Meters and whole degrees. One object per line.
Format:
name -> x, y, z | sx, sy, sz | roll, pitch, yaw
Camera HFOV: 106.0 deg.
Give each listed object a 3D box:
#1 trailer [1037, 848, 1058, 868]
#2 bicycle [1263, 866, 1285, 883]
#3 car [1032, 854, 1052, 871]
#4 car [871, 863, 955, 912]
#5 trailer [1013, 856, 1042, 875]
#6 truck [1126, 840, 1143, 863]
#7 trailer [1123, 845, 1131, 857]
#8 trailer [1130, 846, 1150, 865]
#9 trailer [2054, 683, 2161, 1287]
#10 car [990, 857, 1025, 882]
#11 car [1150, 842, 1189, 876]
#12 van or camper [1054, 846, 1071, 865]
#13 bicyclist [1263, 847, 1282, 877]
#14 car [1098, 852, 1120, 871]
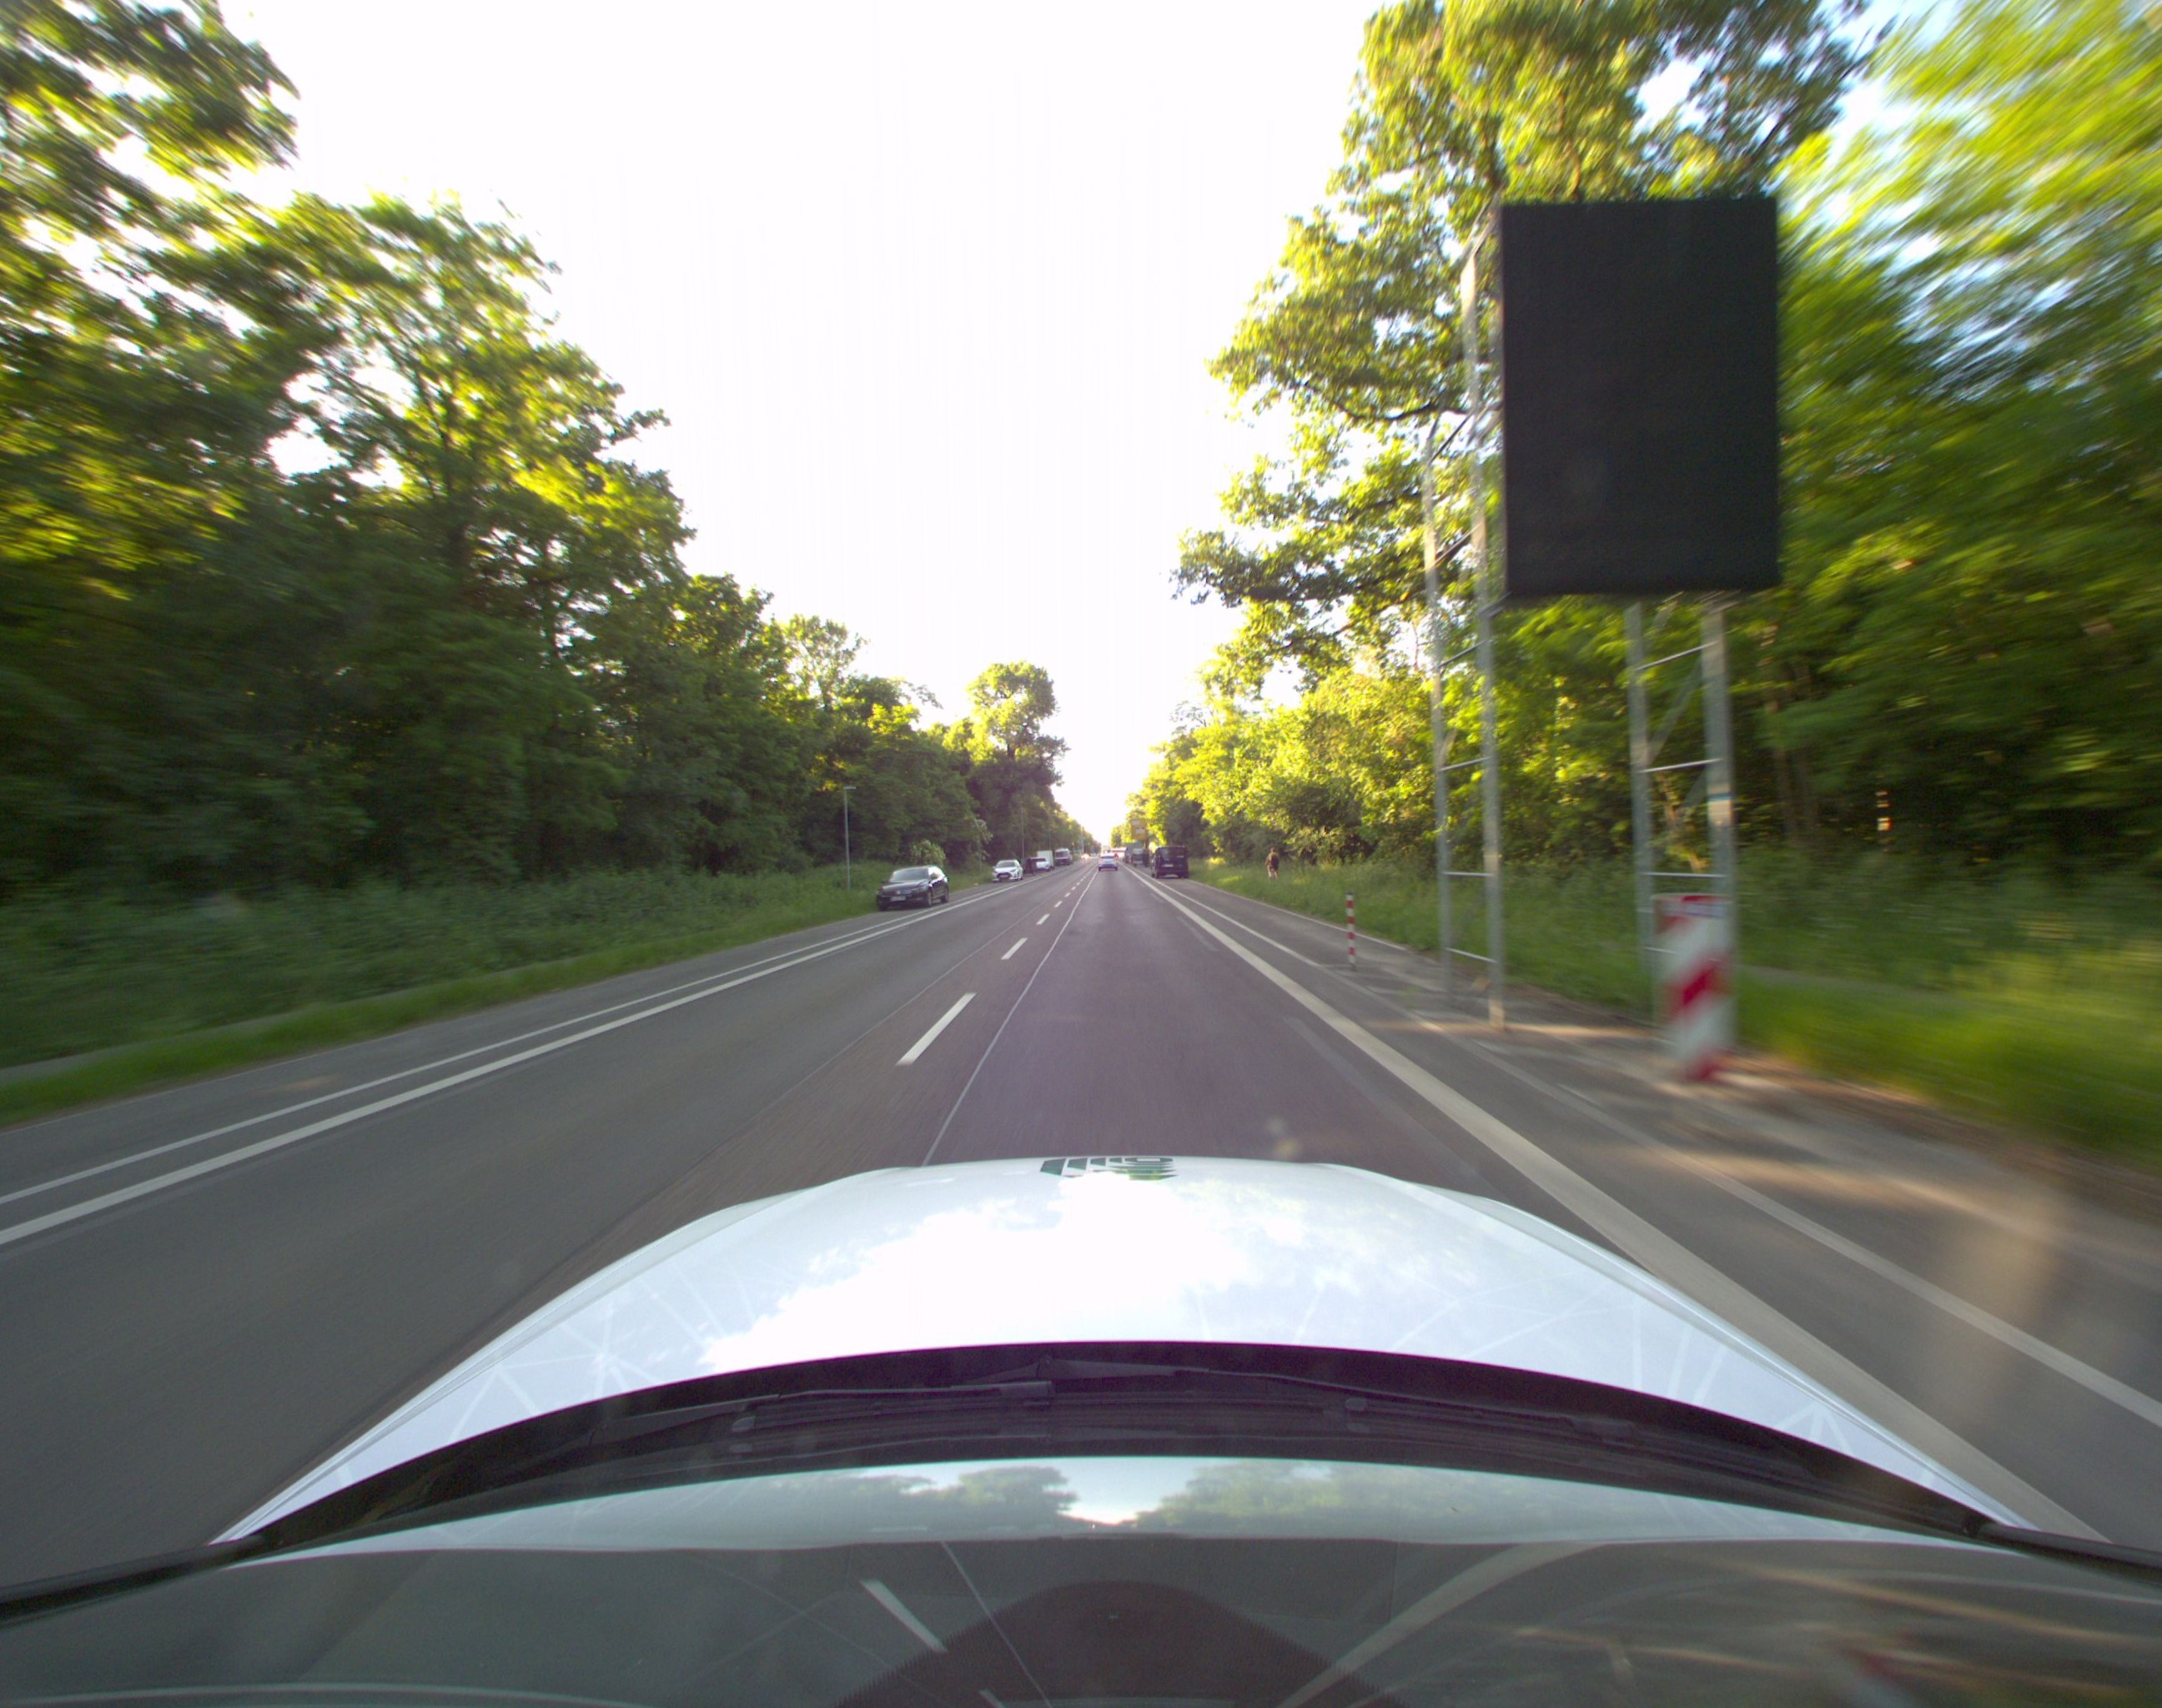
trailer -> -3.966, 0.495, 98.001 | 2.066, 2.293, 3.490 | -3, 0, 4
bicycle -> 8.845, 0.927, 37.419 | 0.589, 0.692, 1.997 | -2, 0, 2
car -> -3.987, 0.904, 84.262 | 1.808, 1.571, 4.206 | -4, 0, 0
car -> -5.940, 1.143, 29.423 | 1.848, 1.464, 4.786 | -2, 0, 2
trailer -> -4.575, 0.975, 69.810 | 1.383, 1.574, 2.689 | -2, 0, 22
truck -> 8.185, -0.336, 125.305 | 2.495, 3.366, 7.111 | -1, 0, 2
trailer -> 8.380, -0.549, 148.849 | 1.494, 2.235, 4.552 | -1, 0, 2
trailer -> 6.901, 0.150, 95.261 | 1.600, 2.112, 2.409 | -2, 0, 22
trailer -> 3.948, 0.445, 0.963 | 1.945, 2.022, 3.864 | -2, 0, 21
car -> -5.056, 1.043, 56.461 | 1.860, 1.450, 4.073 | -5, 0, 2
car -> 5.490, 0.310, 51.065 | 2.105, 2.013, 5.042 | 0, 0, 2
van or camper -> -2.897, 0.299, 128.841 | 2.293, 2.768, 5.560 | -5, 0, 2
bicyclist -> 8.782, 0.373, 37.375 | 0.608, 1.324, 1.176 | -2, 0, 2
car -> 2.632, 0.659, 76.505 | 1.986, 1.640, 4.002 | -2, 0, 2
